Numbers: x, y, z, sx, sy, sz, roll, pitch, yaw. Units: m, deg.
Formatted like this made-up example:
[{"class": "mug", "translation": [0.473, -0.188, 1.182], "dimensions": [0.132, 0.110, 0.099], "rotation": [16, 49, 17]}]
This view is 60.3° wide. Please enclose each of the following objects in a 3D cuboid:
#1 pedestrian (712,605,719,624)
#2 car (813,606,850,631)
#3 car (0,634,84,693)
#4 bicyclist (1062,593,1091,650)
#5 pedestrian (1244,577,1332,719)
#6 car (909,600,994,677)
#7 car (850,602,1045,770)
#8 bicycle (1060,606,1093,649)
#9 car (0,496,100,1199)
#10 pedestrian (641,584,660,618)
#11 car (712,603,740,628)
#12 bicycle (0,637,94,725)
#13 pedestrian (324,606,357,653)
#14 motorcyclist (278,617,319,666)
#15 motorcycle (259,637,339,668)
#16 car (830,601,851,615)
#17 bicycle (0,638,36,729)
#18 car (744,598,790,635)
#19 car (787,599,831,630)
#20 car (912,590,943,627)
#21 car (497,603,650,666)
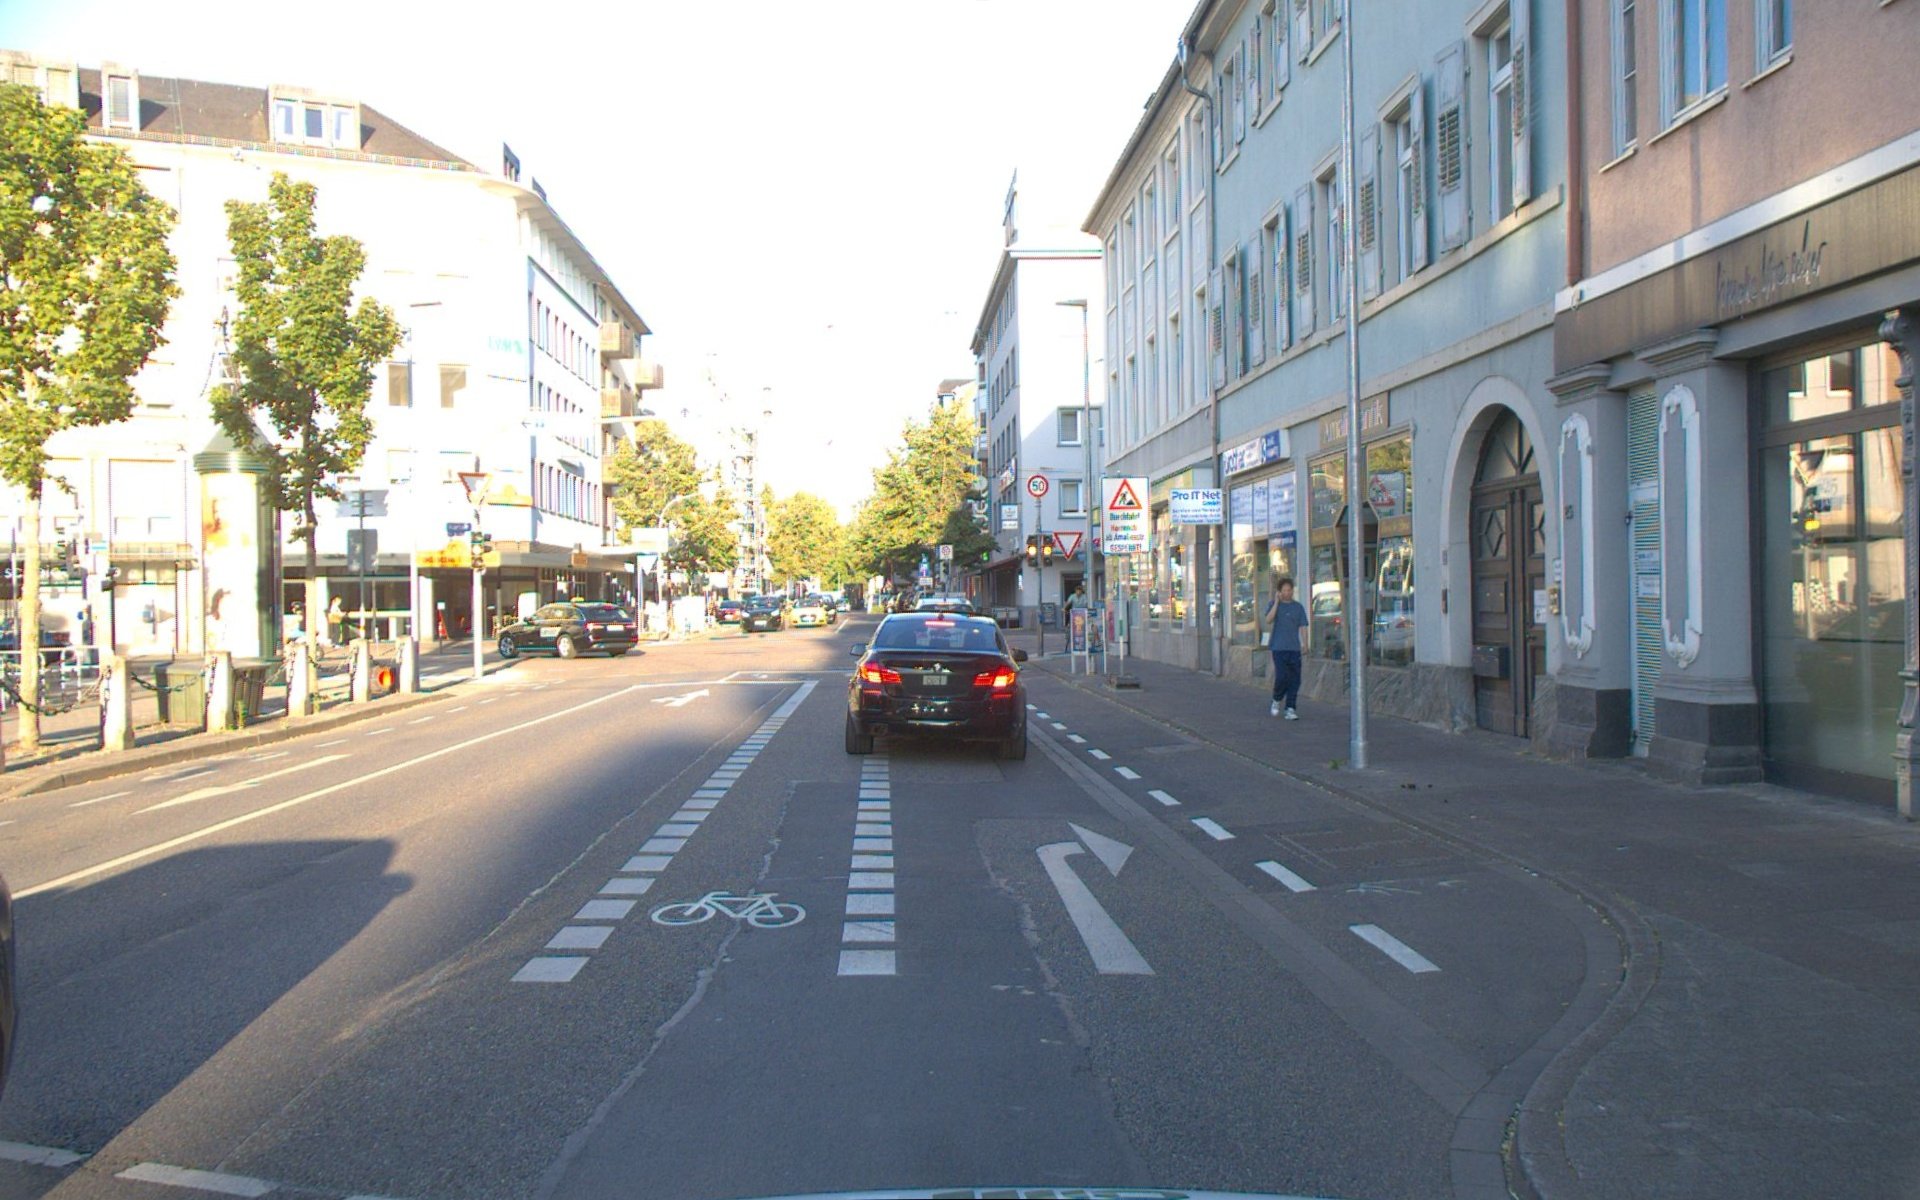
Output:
[{"class": "pedestrian", "translation": [-17.961, 1.060, 121.592], "dimensions": [0.435, 1.441, 0.525], "rotation": [-1, 0, -5]}, {"class": "car", "translation": [-6.999, 0.987, 89.615], "dimensions": [1.702, 1.315, 3.992], "rotation": [-1, 0, -8]}, {"class": "car", "translation": [-26.553, 1.778, 45.726], "dimensions": [3.933, 1.512, 1.986], "rotation": [-1, 0, -23]}, {"class": "bicyclist", "translation": [3.203, 0.581, 45.566], "dimensions": [0.707, 1.534, 0.899], "rotation": [-1, 0, -2]}, {"class": "pedestrian", "translation": [3.975, 0.571, 20.101], "dimensions": [0.807, 1.670, 0.870], "rotation": [-1, 0, -5]}, {"class": "car", "translation": [-0.229, 0.829, 37.764], "dimensions": [1.795, 1.603, 4.099], "rotation": [-1, 0, -1]}, {"class": "car", "translation": [-0.263, 0.838, 18.157], "dimensions": [1.866, 1.567, 4.446], "rotation": [1, 0, -4]}, {"class": "bicycle", "translation": [3.202, 0.750, 45.650], "dimensions": [0.676, 1.126, 1.895], "rotation": [-1, 0, -2]}, {"class": "car", "translation": [-3.034, 0.671, 1.861], "dimensions": [1.910, 1.744, 4.558], "rotation": [-2, 0, -3]}, {"class": "pedestrian", "translation": [-16.246, 0.053, 86.866], "dimensions": [0.807, 1.706, 0.871], "rotation": [-1, 0, -4]}, {"class": "car", "translation": [-14.711, 0.959, 103.903], "dimensions": [1.702, 1.487, 3.992], "rotation": [-1, 0, -8]}, {"class": "bicycle", "translation": [-14.703, 1.252, 25.356], "dimensions": [2.394, 1.278, 0.787], "rotation": [-2, 0, -2]}, {"class": "pedestrian", "translation": [-20.944, 0.998, 55.882], "dimensions": [0.934, 1.564, 0.901], "rotation": [-1, 0, -27]}, {"class": "motorcyclist", "translation": [-18.736, 1.173, 46.872], "dimensions": [0.975, 1.343, 0.764], "rotation": [-1, 0, -17]}, {"class": "motorcycle", "translation": [-18.736, 1.470, 46.911], "dimensions": [1.993, 0.794, 0.661], "rotation": [-2, 0, -15]}, {"class": "car", "translation": [-11.972, 0.794, 165.457], "dimensions": [1.702, 1.315, 3.992], "rotation": [-1, 0, -8]}, {"class": "bicycle", "translation": [-14.740, 1.240, 24.116], "dimensions": [1.965, 1.278, 0.949], "rotation": [-2, 0, -2]}, {"class": "car", "translation": [-9.041, 0.753, 77.263], "dimensions": [1.956, 1.646, 3.992], "rotation": [-1, 0, -8]}, {"class": "car", "translation": [-7.571, 0.709, 82.817], "dimensions": [1.956, 1.467, 3.992], "rotation": [-1, 0, -8]}, {"class": "car", "translation": [-1.710, 0.469, 86.309], "dimensions": [1.393, 1.887, 3.049], "rotation": [0, -1, -6]}, {"class": "car", "translation": [-10.594, 0.923, 45.168], "dimensions": [4.368, 1.623, 1.868], "rotation": [-1, 0, 41]}]
